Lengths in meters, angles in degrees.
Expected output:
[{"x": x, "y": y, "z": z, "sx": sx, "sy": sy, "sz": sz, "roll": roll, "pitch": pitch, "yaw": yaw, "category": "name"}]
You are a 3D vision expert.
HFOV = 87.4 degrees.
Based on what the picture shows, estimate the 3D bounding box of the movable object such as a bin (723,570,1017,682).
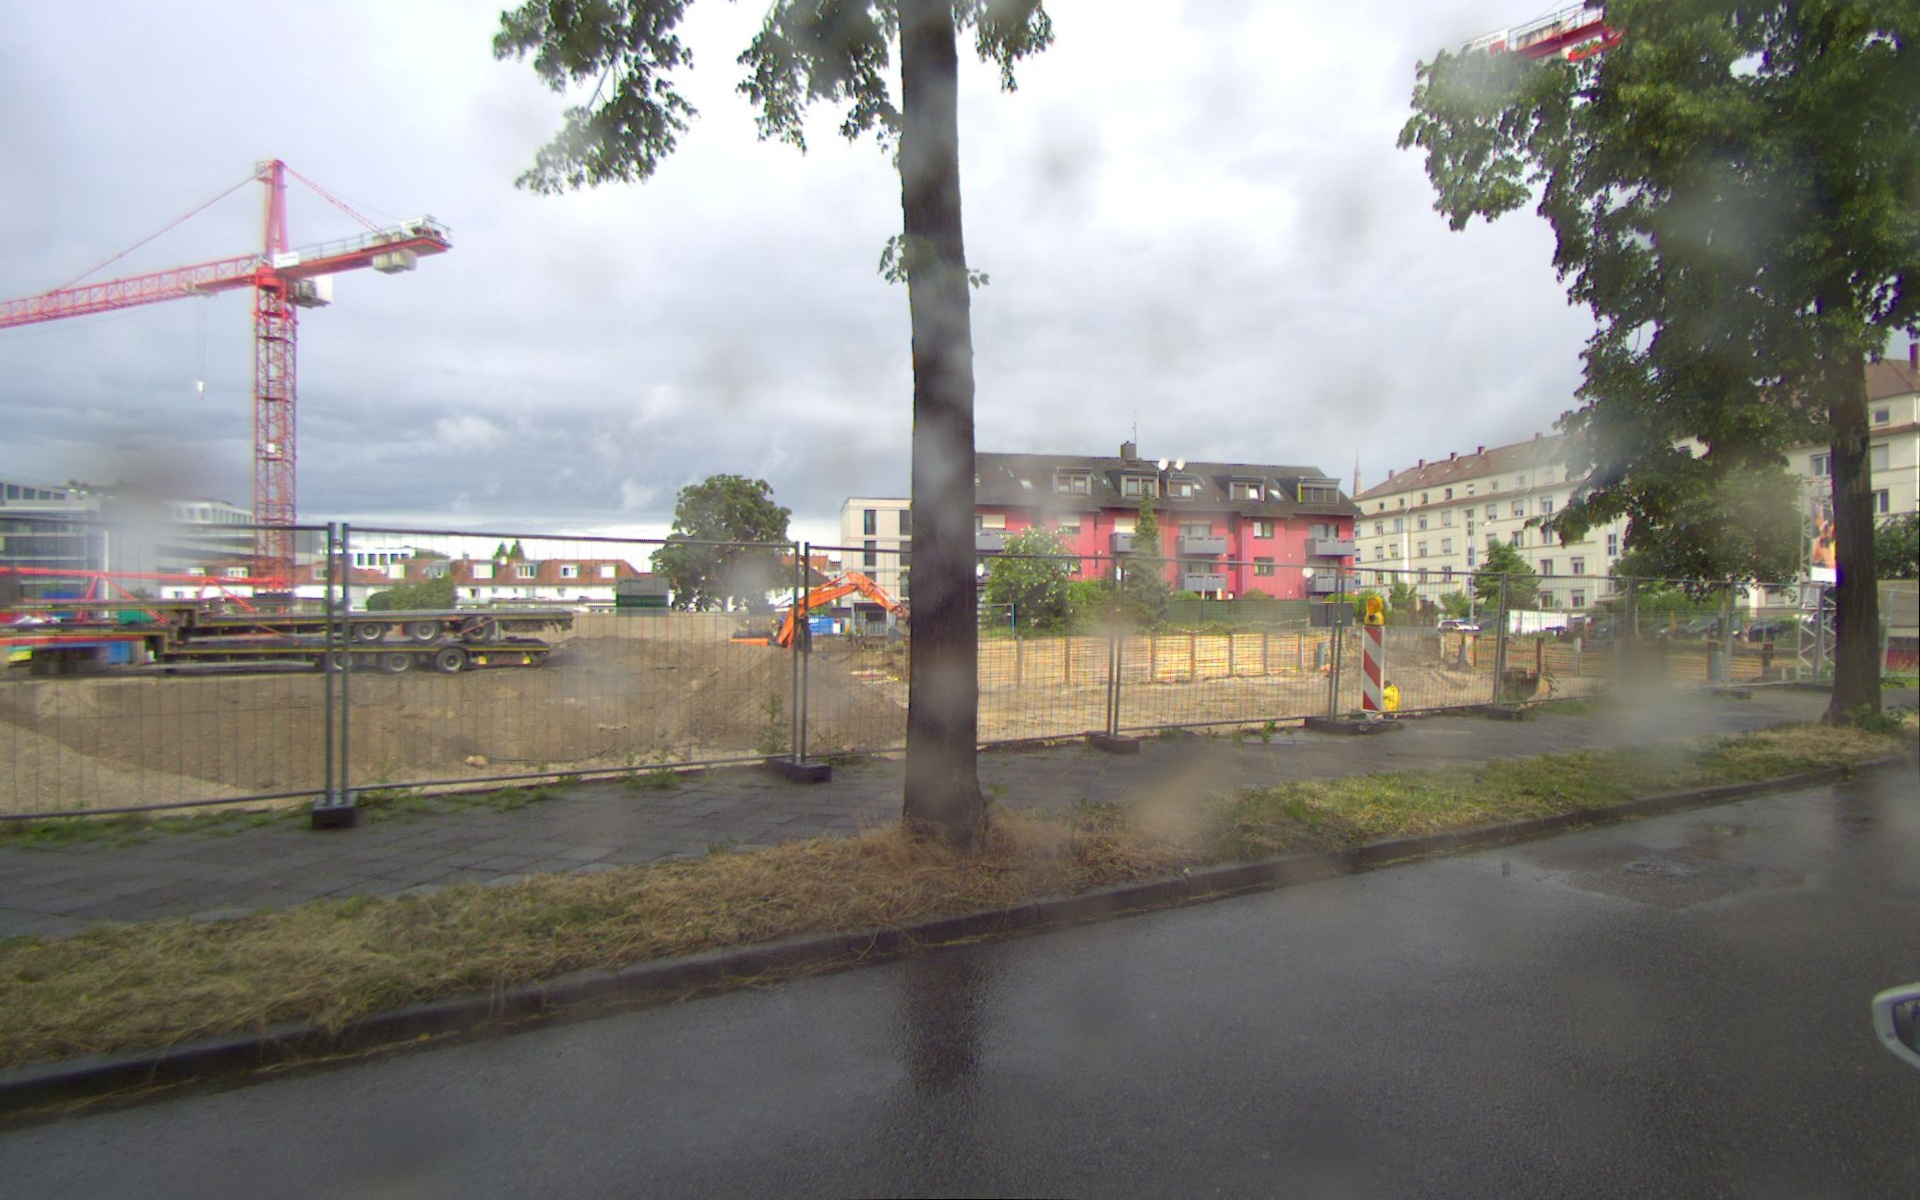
[{"x": -5.286, "y": 1.451, "z": 60.042, "sx": 16.430, "sy": 6.125, "sz": 6.885, "roll": 0, "pitch": 0, "yaw": -6, "category": "movable object such as a bin"}]
